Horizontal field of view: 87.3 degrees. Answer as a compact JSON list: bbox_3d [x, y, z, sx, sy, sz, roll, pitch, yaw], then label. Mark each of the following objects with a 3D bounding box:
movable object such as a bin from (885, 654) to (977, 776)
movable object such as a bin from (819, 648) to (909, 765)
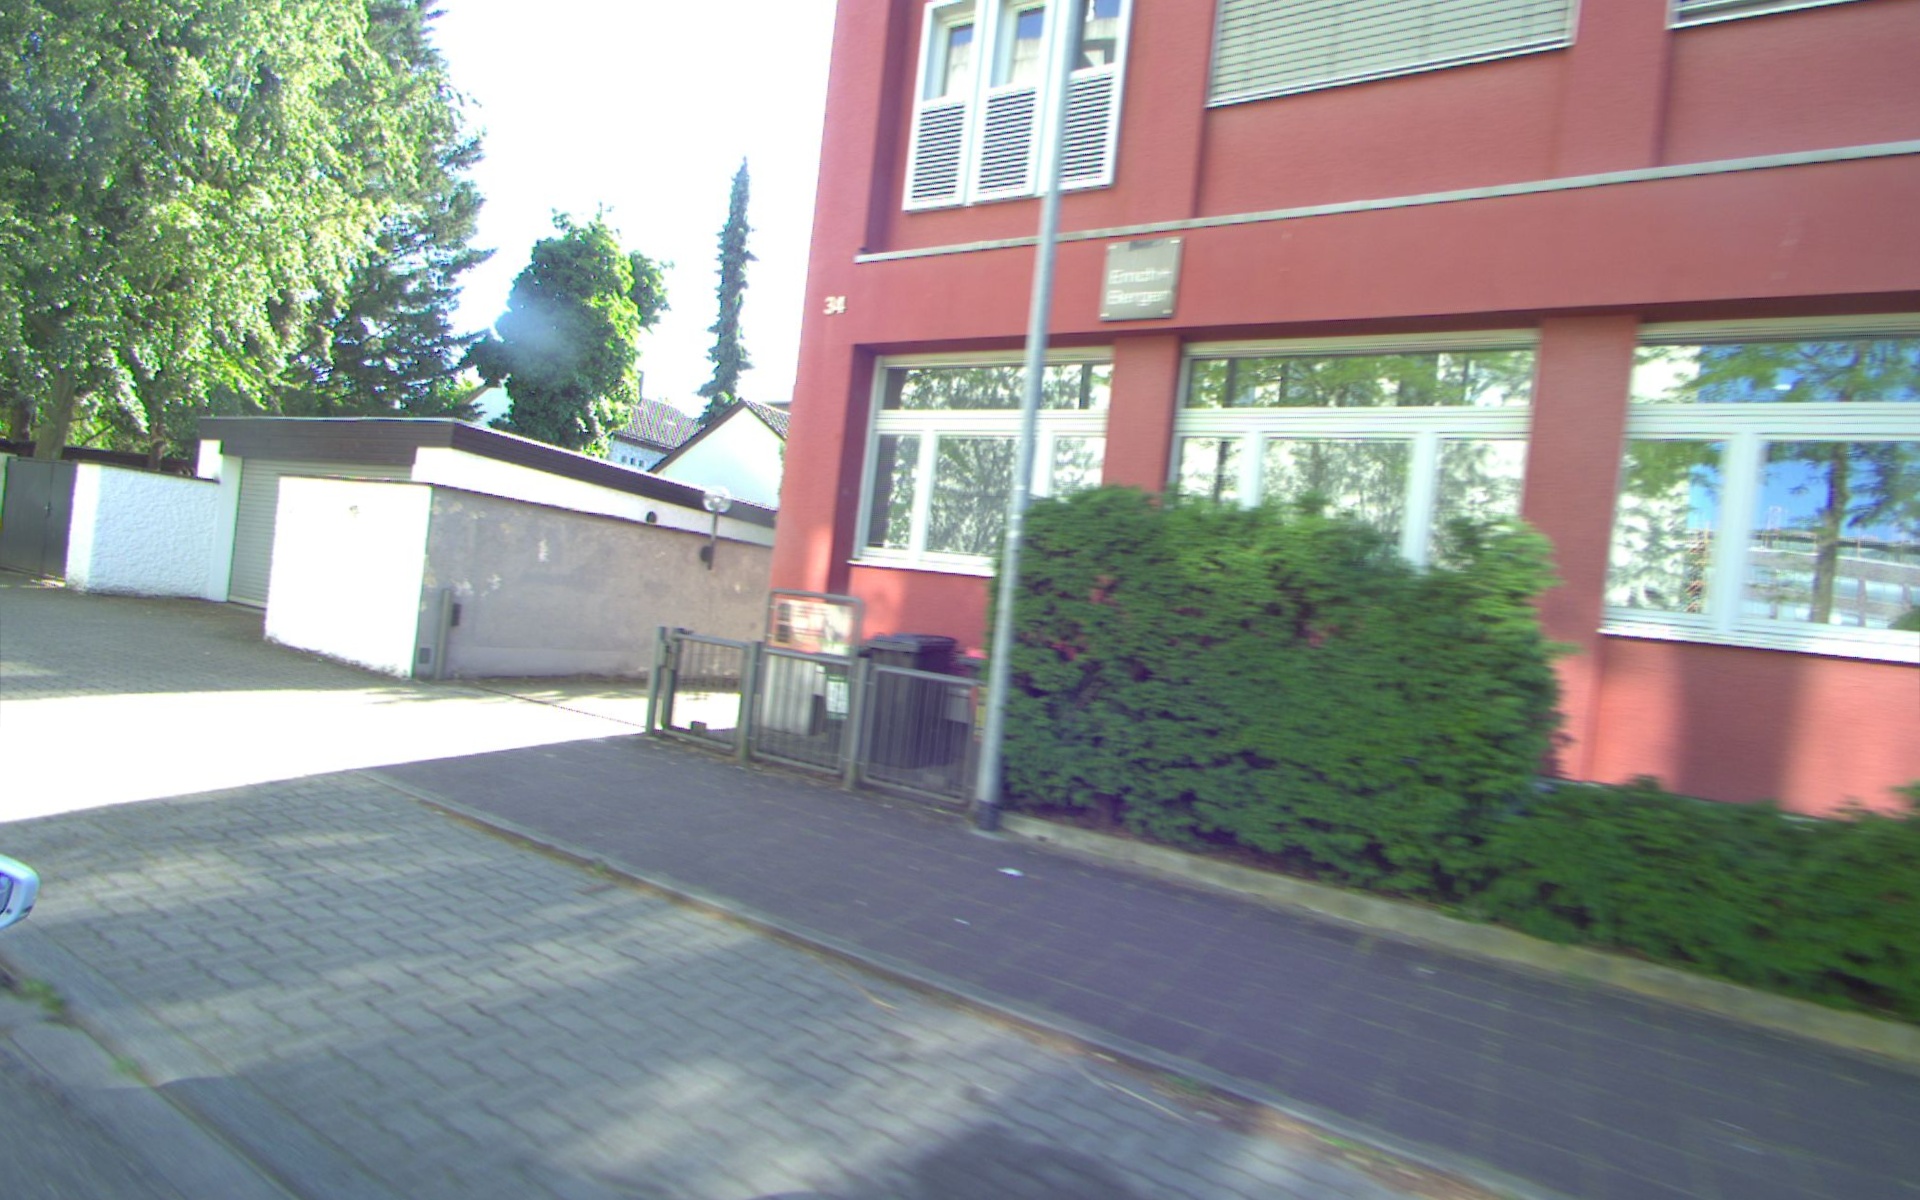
[{"bbox_3d":[-0.234,0.932,8.233,0.467,0.911,0.477,7,-1,33],"label":"movable object such as a bin"},{"bbox_3d":[-0.814,0.903,8.603,0.467,0.911,0.477,7,-1,33],"label":"movable object such as a bin"}]
